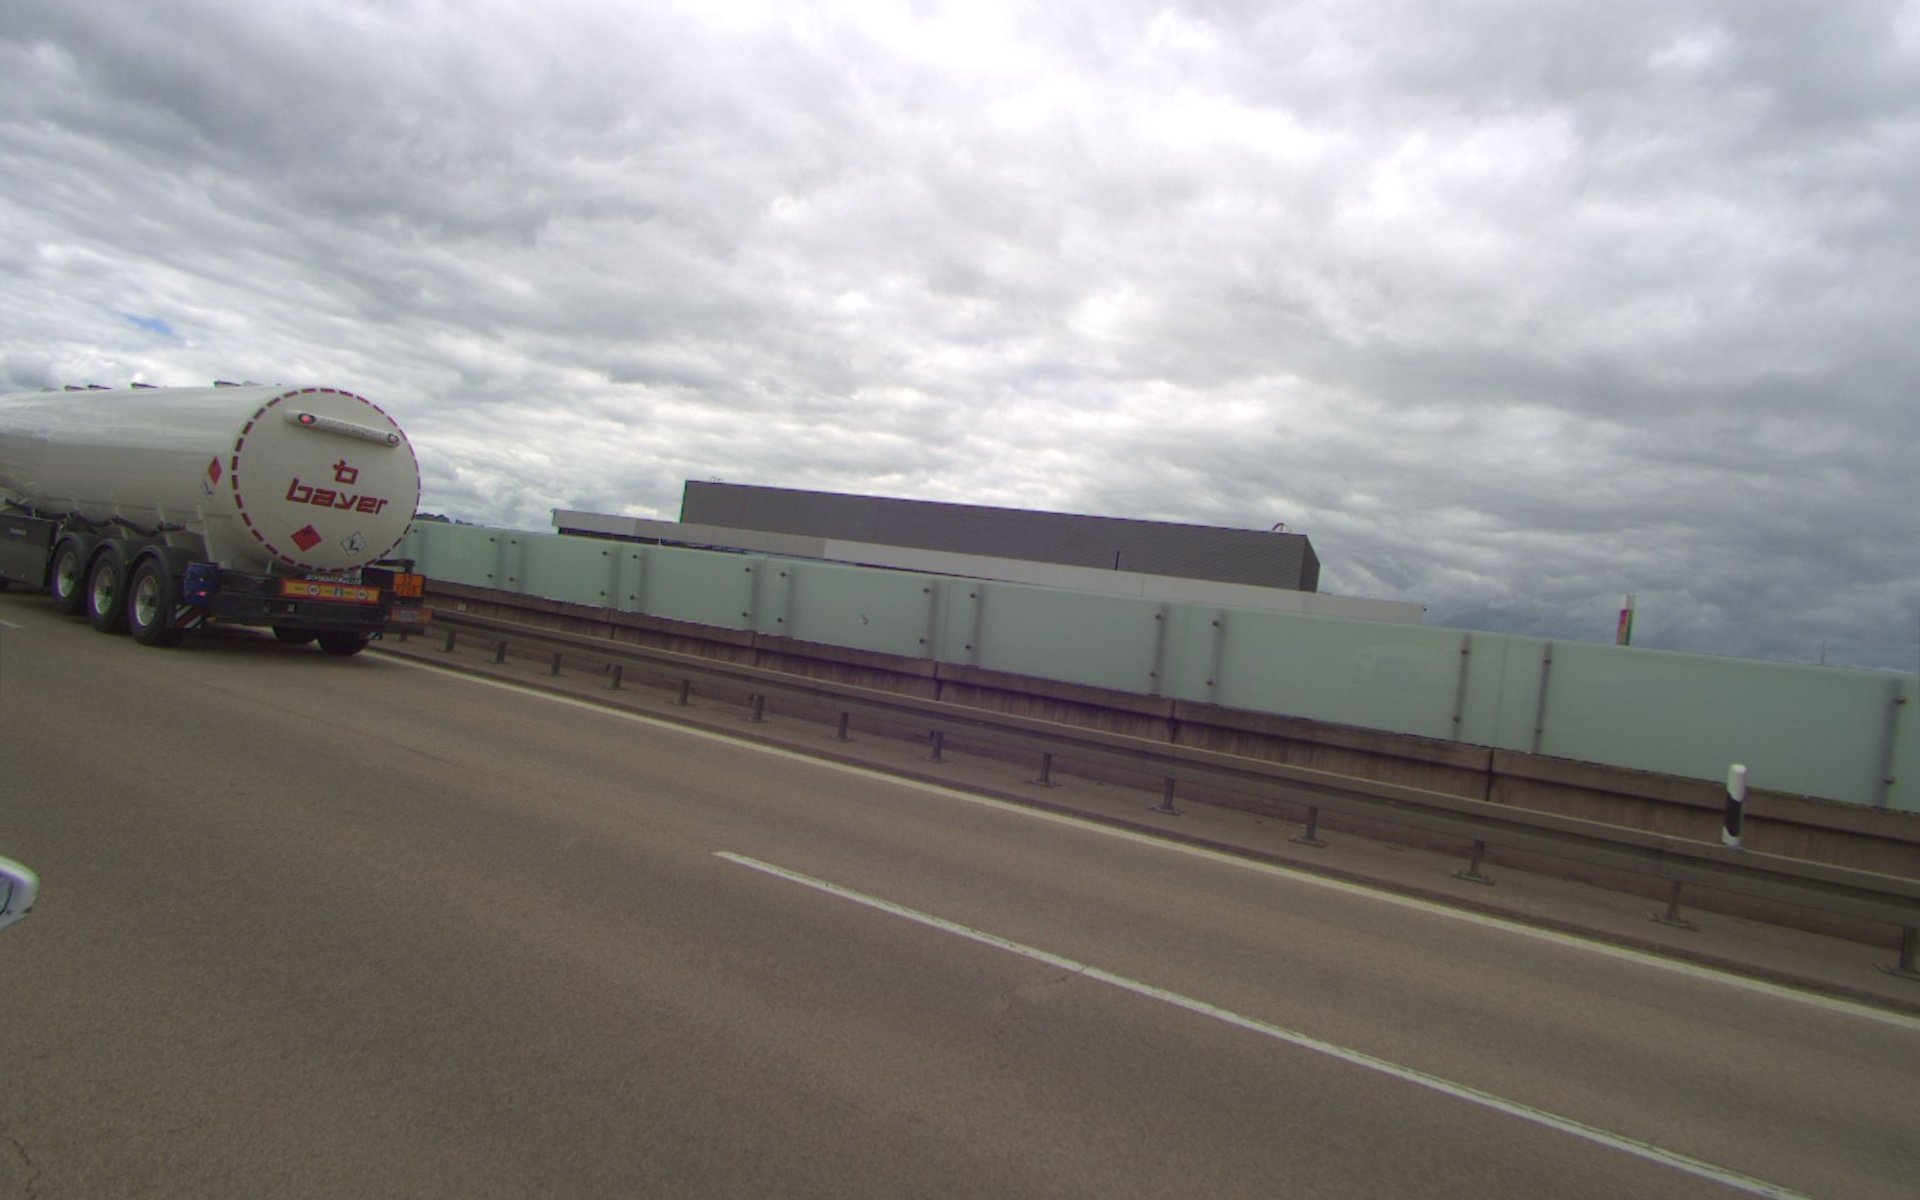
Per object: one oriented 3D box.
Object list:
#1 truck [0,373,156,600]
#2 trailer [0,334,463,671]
[{"bbox_3d":[-17.592,-2.118,18.488,4.823,3.555,2.636,7,-1,32],"label":"truck"},{"bbox_3d":[-12.083,-1.493,15.008,11.035,3.584,2.655,6,-2,32],"label":"trailer"}]
